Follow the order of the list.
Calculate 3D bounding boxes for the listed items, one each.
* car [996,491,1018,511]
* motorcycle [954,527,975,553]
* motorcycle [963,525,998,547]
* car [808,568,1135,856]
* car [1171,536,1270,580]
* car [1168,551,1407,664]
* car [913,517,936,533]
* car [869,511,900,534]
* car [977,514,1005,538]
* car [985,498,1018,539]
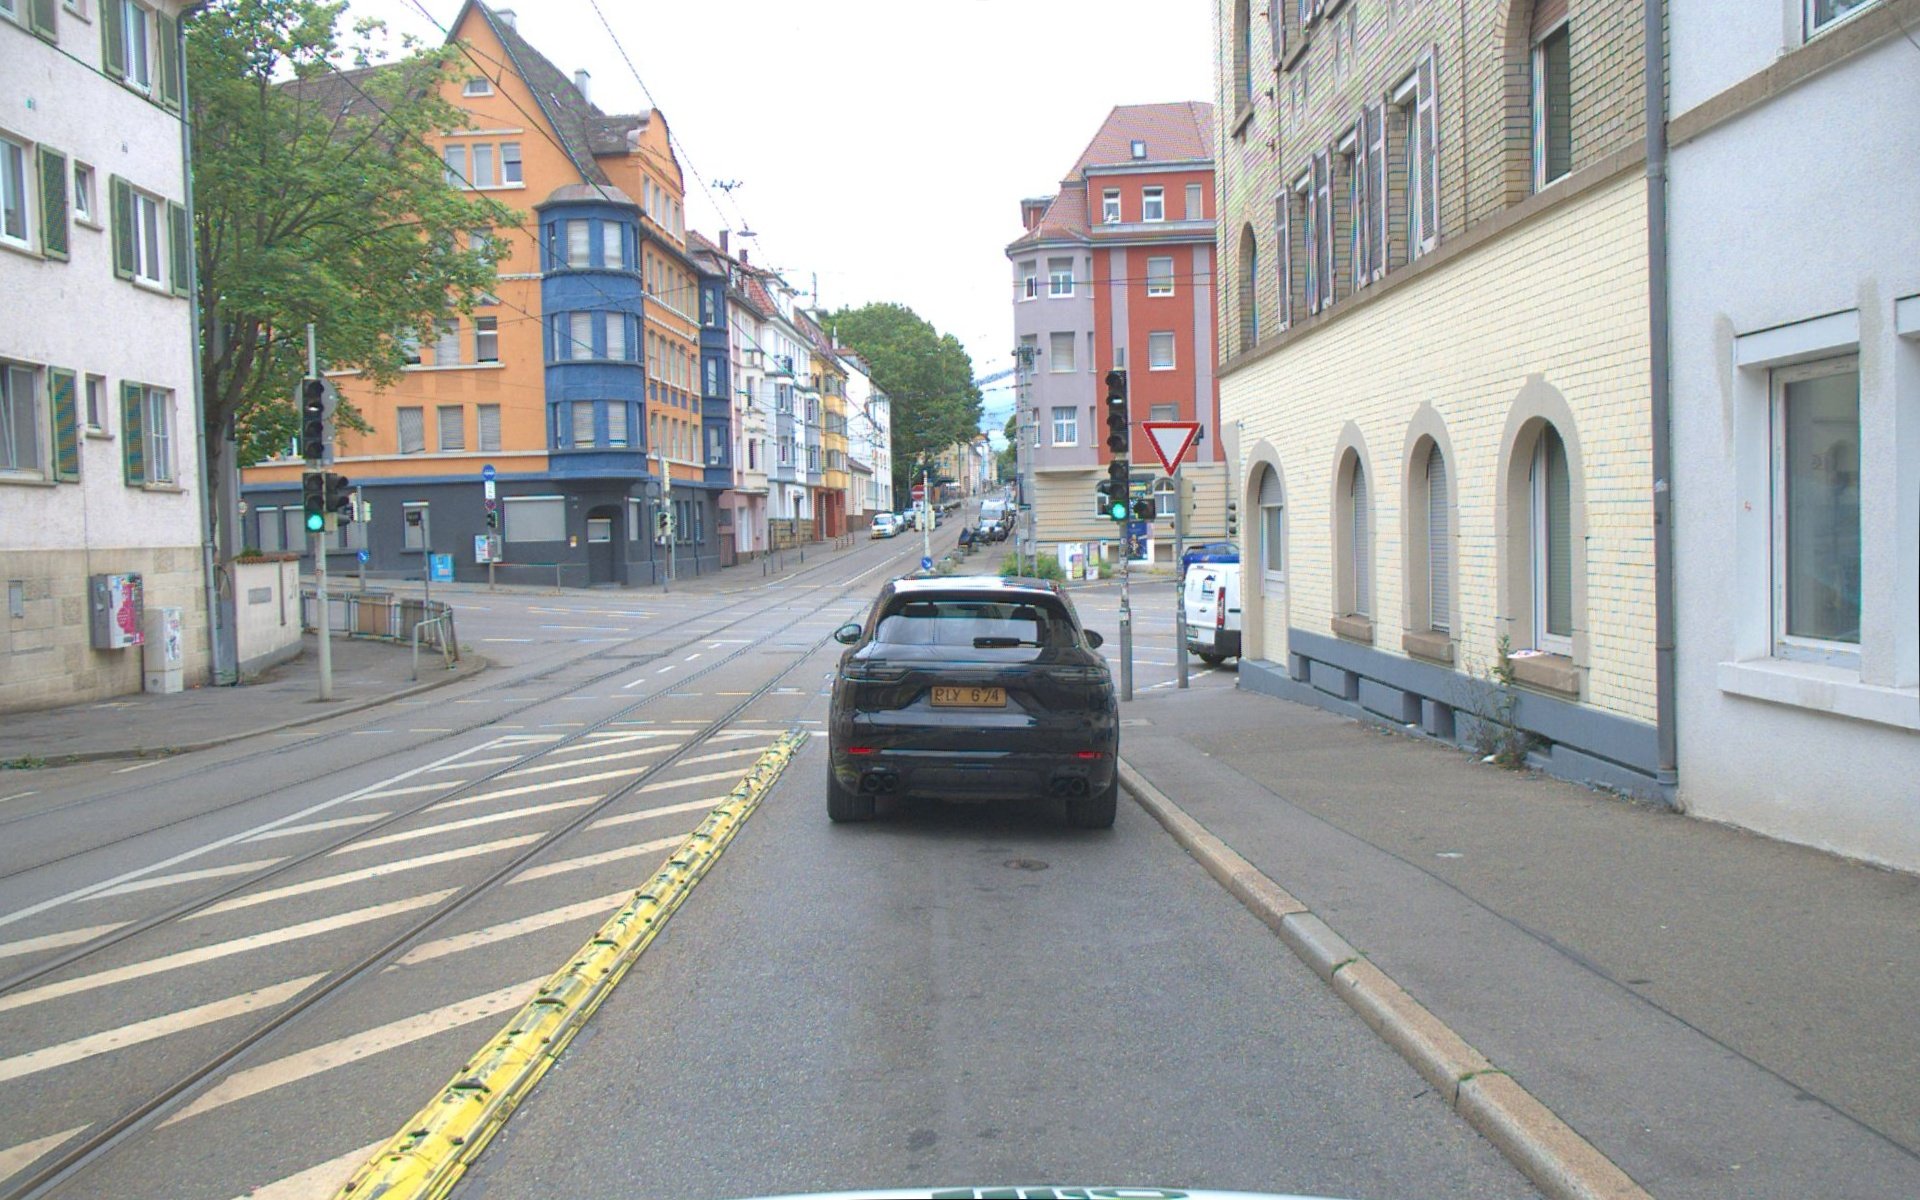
[{"bbox_3d":[5.196,-10.970,183.584,2.219,2.221,4.773,1,3,4],"label":"car"},{"bbox_3d":[0.228,-3.382,93.326,0.843,1.348,2.182,-7,4,-5],"label":"motorcycle"},{"bbox_3d":[1.272,-4.035,103.868,2.135,1.349,0.699,0,3,-7],"label":"motorcycle"},{"bbox_3d":[0.246,0.641,12.312,1.981,1.670,4.359,1,2,5],"label":"car"},{"bbox_3d":[10.686,-1.746,67.637,4.108,1.561,1.889,-5,6,-42],"label":"car"},{"bbox_3d":[6.278,0.081,31.696,4.214,1.916,1.858,-2,3,-23],"label":"car"},{"bbox_3d":[-3.015,-6.373,140.264,1.650,1.349,3.665,1,3,4],"label":"car"},{"bbox_3d":[-5.893,-6.026,128.880,1.952,1.721,4.003,1,3,4],"label":"car"},{"bbox_3d":[2.204,-5.245,116.952,1.801,1.595,3.822,1,3,4],"label":"car"},{"bbox_3d":[3.106,-6.055,122.739,2.219,2.940,4.773,1,3,4],"label":"car"}]
